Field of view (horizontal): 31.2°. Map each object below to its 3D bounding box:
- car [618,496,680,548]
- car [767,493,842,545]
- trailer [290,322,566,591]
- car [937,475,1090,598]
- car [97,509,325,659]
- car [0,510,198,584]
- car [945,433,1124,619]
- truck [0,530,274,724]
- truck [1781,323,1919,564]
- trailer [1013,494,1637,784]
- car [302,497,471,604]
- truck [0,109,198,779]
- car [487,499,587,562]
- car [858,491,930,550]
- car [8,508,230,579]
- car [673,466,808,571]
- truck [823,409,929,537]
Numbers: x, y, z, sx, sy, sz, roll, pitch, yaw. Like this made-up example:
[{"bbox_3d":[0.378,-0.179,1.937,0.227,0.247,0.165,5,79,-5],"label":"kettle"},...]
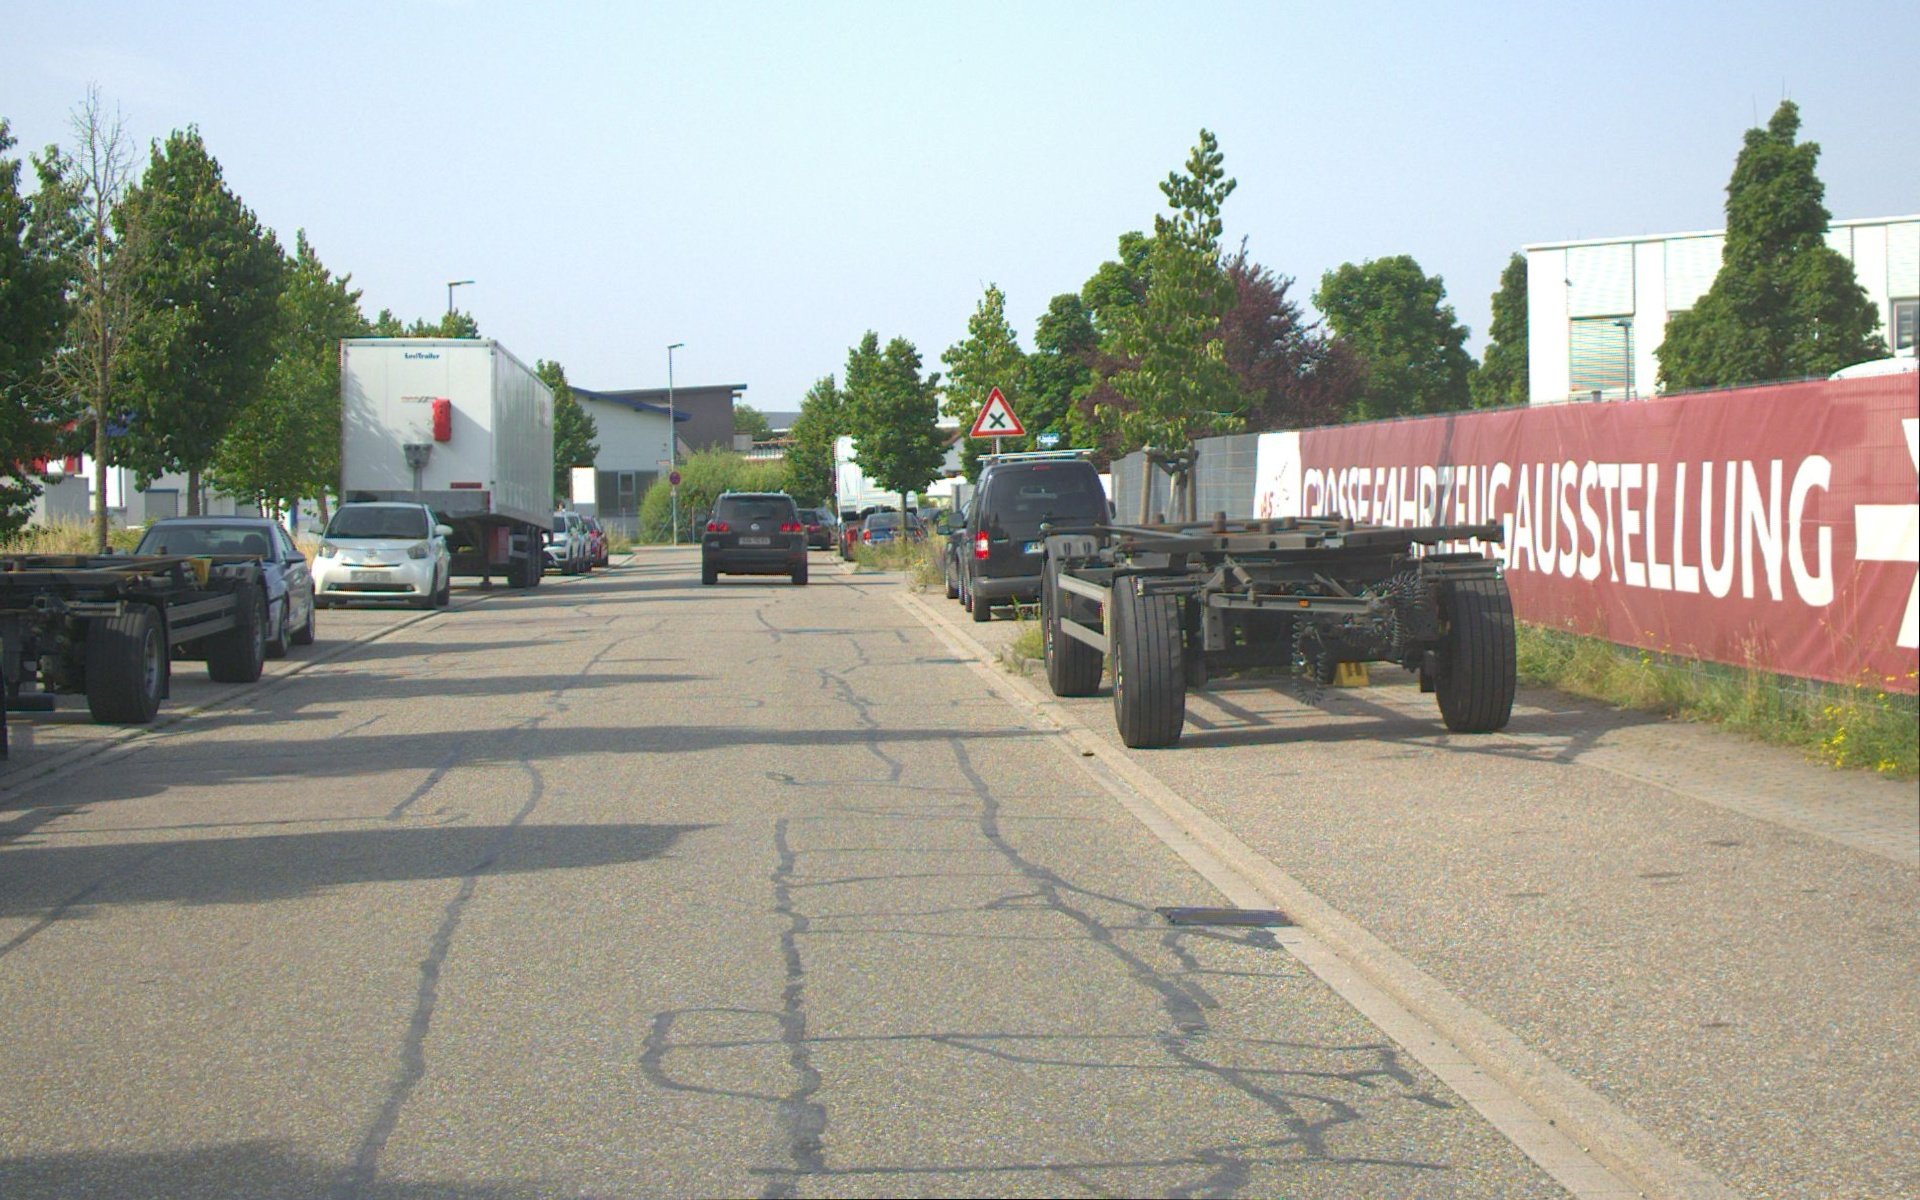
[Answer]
[{"bbox_3d":[-10.784,-2.726,119.403,1.993,1.765,4.001,-1,2,-3],"label":"car"},{"bbox_3d":[-5.385,-2.838,119.798,1.994,1.765,3.999,-1,2,6],"label":"car"},{"bbox_3d":[-9.475,-2.567,63.112,3.403,4.325,13.922,-1,2,-2],"label":"trailer"},{"bbox_3d":[0.684,-0.894,46.458,1.818,1.444,3.802,-4,2,-1],"label":"car"},{"bbox_3d":[-7.758,-0.212,35.933,1.884,1.431,4.001,-1,2,-6],"label":"car"},{"bbox_3d":[-16.969,-1.025,66.614,3.987,1.335,1.617,-1,2,4],"label":"car"},{"bbox_3d":[0.834,-0.918,40.931,1.818,1.971,4.001,-4,2,-1],"label":"car"},{"bbox_3d":[-7.303,0.143,27.859,2.524,1.261,6.528,-1,2,-3],"label":"truck"},{"bbox_3d":[18.234,-2.587,56.022,9.306,3.958,2.453,1,3,40],"label":"truck"},{"bbox_3d":[2.031,0.060,23.064,2.623,1.383,9.456,-3,2,-3],"label":"trailer"},{"bbox_3d":[-8.114,-0.738,48.964,1.810,1.422,4.001,-1,2,-1],"label":"car"},{"bbox_3d":[-6.906,-0.886,19.476,2.626,3.915,12.921,-1,2,-2],"label":"truck"},{"bbox_3d":[-10.828,-1.806,88.288,1.993,1.517,4.000,-1,2,1],"label":"car"},{"bbox_3d":[-1.773,-2.154,92.231,1.818,1.444,3.802,-2,2,-1],"label":"car"},{"bbox_3d":[-16.902,-1.141,69.184,3.987,1.335,1.617,-1,2,4],"label":"car"},{"bbox_3d":[-4.048,-1.507,62.881,1.993,1.798,4.001,2,1,-10],"label":"car"},{"bbox_3d":[-2.505,-3.800,103.083,2.887,3.573,8.063,-2,2,-1],"label":"truck"}]
